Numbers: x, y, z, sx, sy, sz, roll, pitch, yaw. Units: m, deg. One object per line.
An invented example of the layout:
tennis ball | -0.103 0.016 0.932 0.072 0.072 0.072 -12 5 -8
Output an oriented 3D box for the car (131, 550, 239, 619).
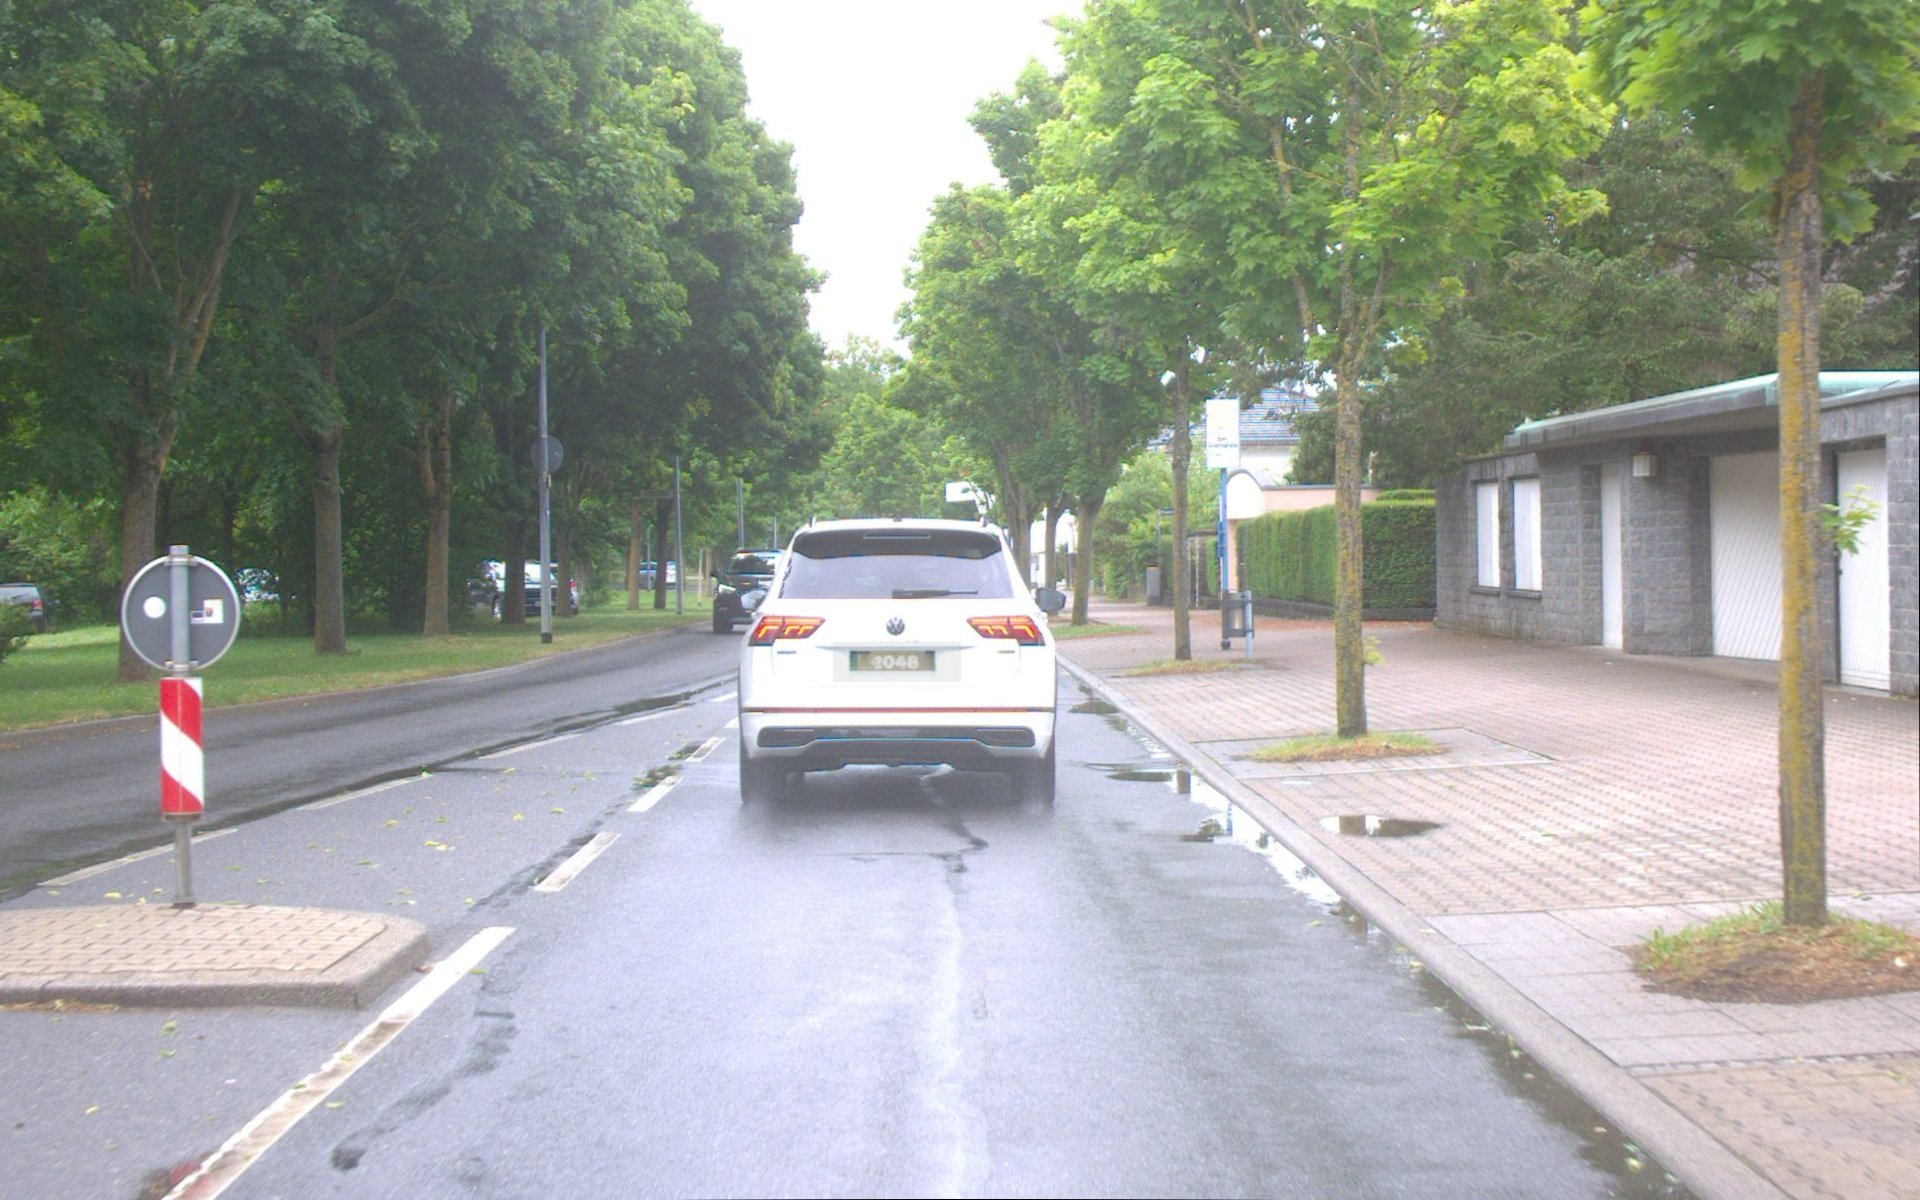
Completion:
car | -17.524 -0.366 77.626 1.841 1.477 4.001 -1 1 -20

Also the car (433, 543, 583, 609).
car | -10.635 -0.557 80.729 1.841 1.477 3.999 -2 1 -35

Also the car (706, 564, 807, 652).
car | -3.931 0.130 67.022 1.814 1.642 4.000 0 1 -1

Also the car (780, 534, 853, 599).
car | -3.723 -0.891 89.848 1.756 1.642 4.000 0 1 0

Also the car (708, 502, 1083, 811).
car | -0.443 0.263 20.645 1.996 1.626 4.001 1 1 -3
